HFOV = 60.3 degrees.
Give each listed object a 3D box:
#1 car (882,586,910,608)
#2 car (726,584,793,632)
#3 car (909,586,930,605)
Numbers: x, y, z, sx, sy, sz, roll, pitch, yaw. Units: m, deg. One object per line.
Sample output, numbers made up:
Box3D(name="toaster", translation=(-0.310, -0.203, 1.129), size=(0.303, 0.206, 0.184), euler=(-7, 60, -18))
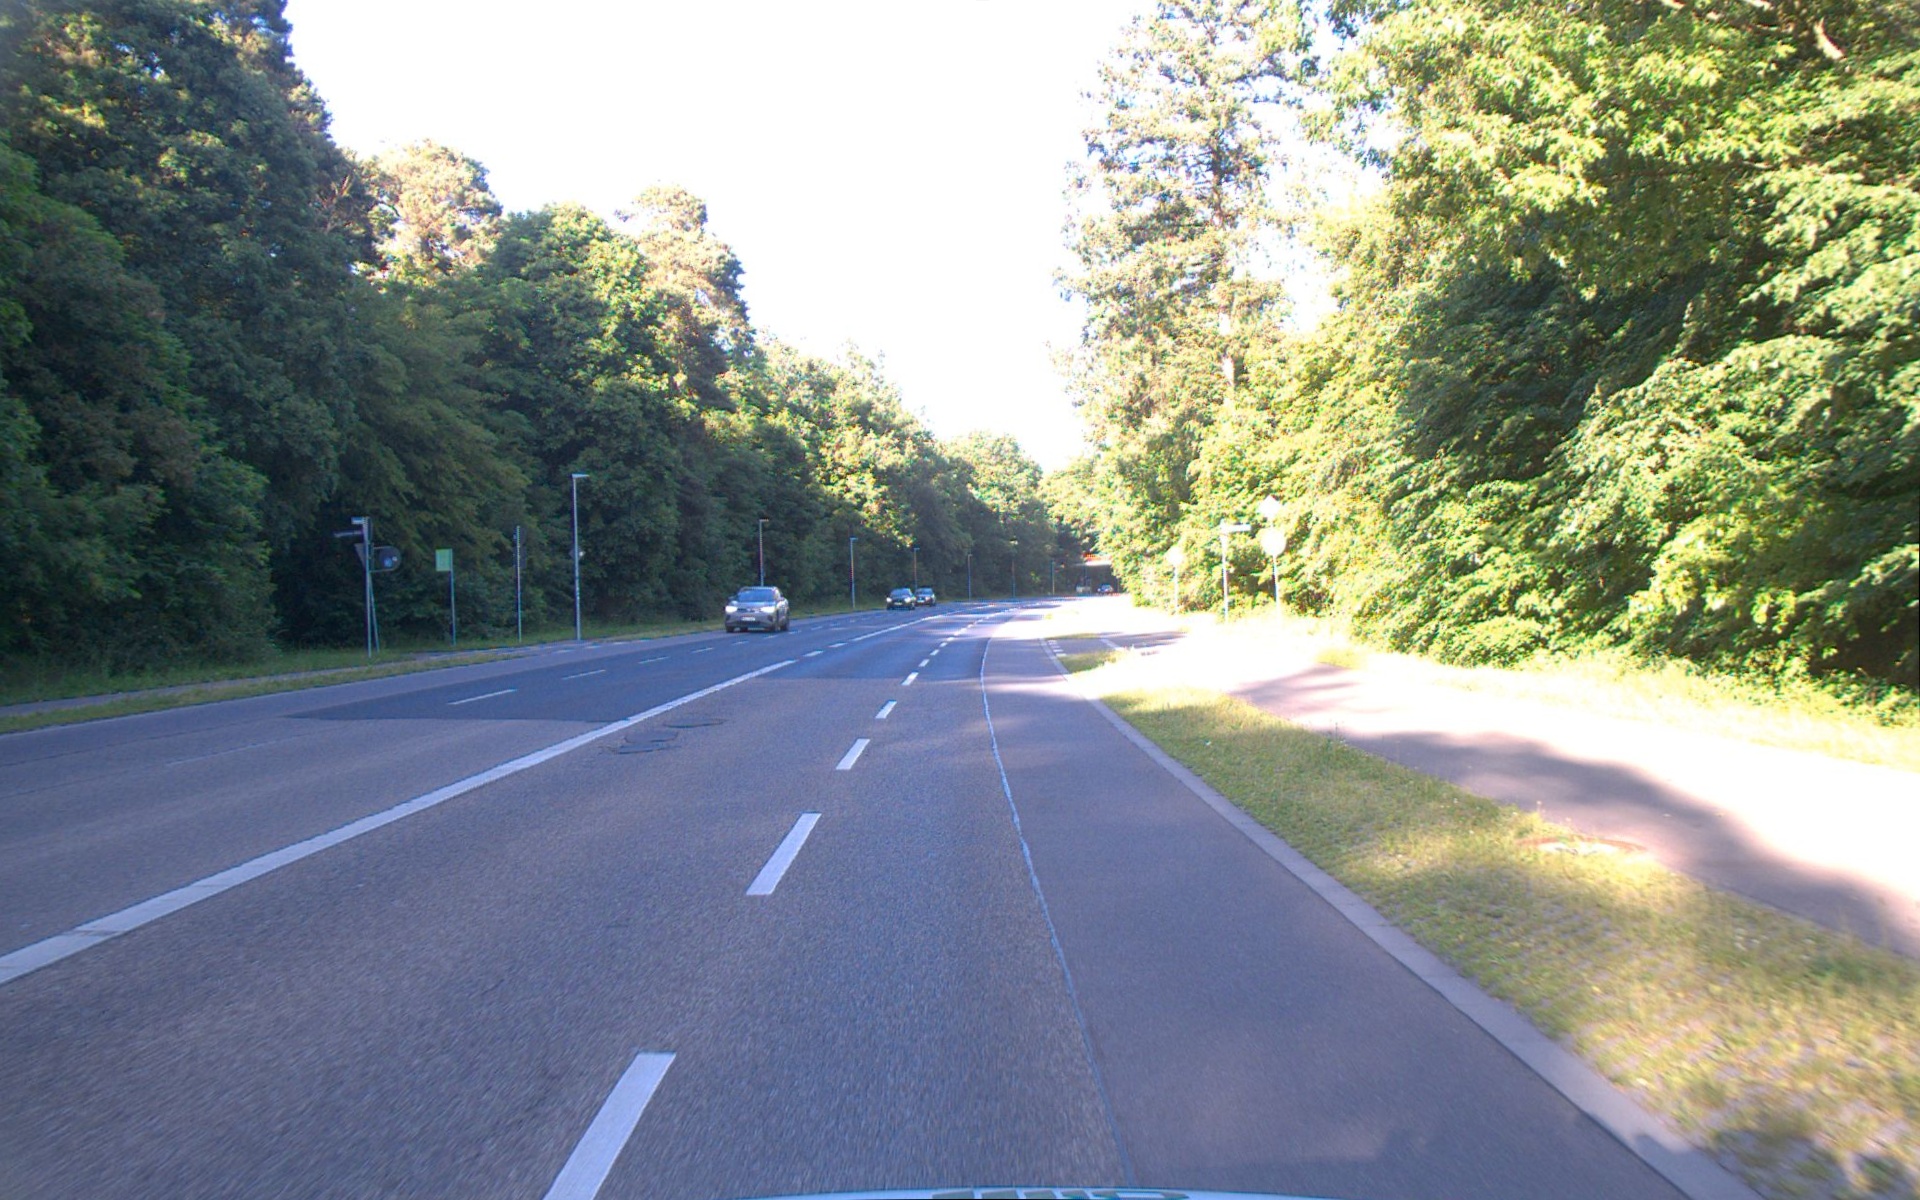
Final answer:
Box3D(name="car", translation=(-4.424, -0.214, 114.443), size=(1.703, 1.483, 3.999), euler=(1, 0, 0))
Box3D(name="car", translation=(-7.271, 0.263, 60.426), size=(1.857, 1.639, 4.449), euler=(1, 0, 0))
Box3D(name="car", translation=(-3.247, -0.350, 133.363), size=(1.623, 1.506, 4.173), euler=(0, 1, 0))
